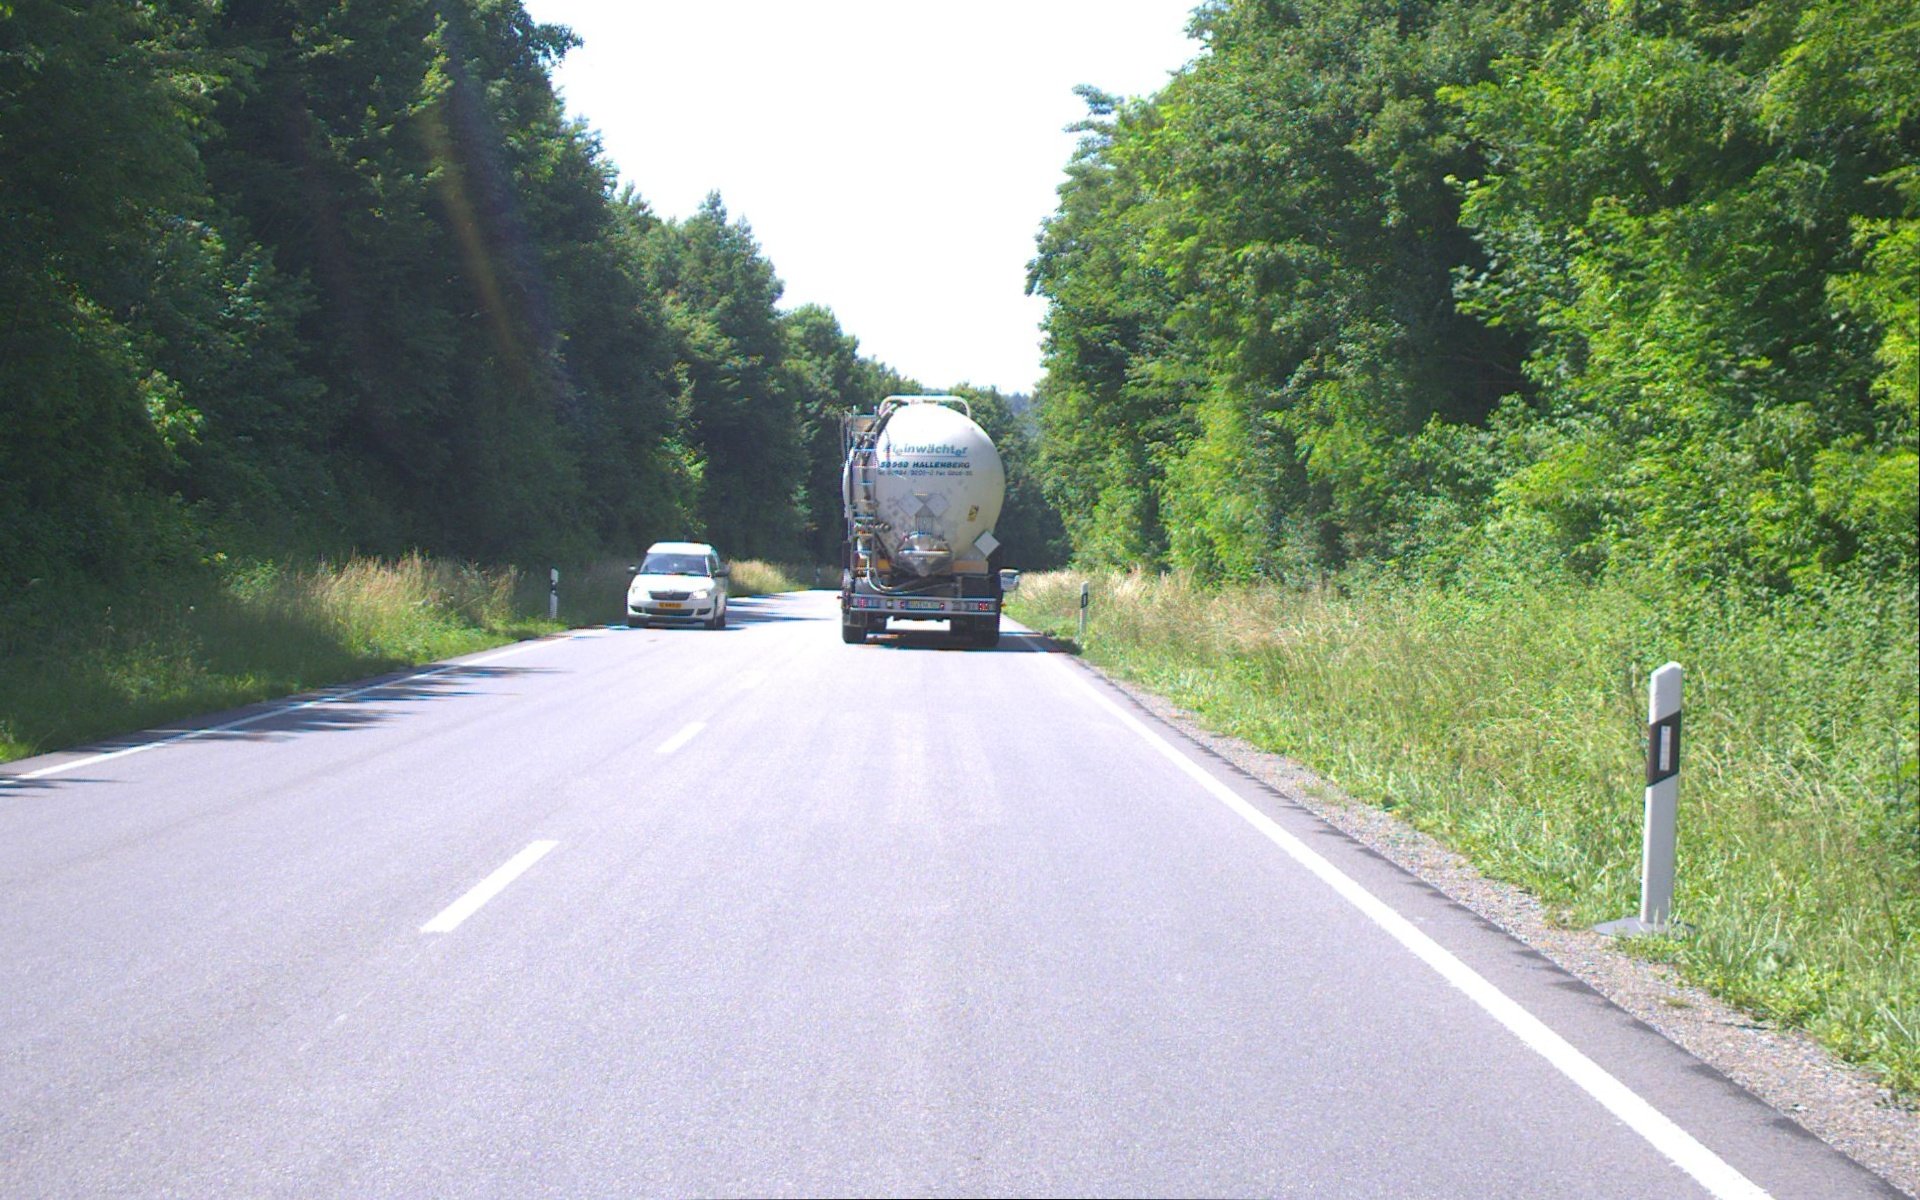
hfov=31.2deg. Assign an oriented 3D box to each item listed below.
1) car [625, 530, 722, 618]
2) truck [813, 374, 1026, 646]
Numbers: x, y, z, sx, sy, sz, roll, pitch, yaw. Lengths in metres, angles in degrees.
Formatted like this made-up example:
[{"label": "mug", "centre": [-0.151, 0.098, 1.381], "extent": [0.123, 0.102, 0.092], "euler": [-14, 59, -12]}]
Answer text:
[{"label": "car", "centre": [-5.385, -0.508, 64.927], "extent": [1.512, 1.587, 3.793], "euler": [1, 1, 0]}, {"label": "truck", "centre": [-0.850, -1.464, 60.201], "extent": [3.049, 3.984, 15.638], "euler": [3, 1, -2]}]
